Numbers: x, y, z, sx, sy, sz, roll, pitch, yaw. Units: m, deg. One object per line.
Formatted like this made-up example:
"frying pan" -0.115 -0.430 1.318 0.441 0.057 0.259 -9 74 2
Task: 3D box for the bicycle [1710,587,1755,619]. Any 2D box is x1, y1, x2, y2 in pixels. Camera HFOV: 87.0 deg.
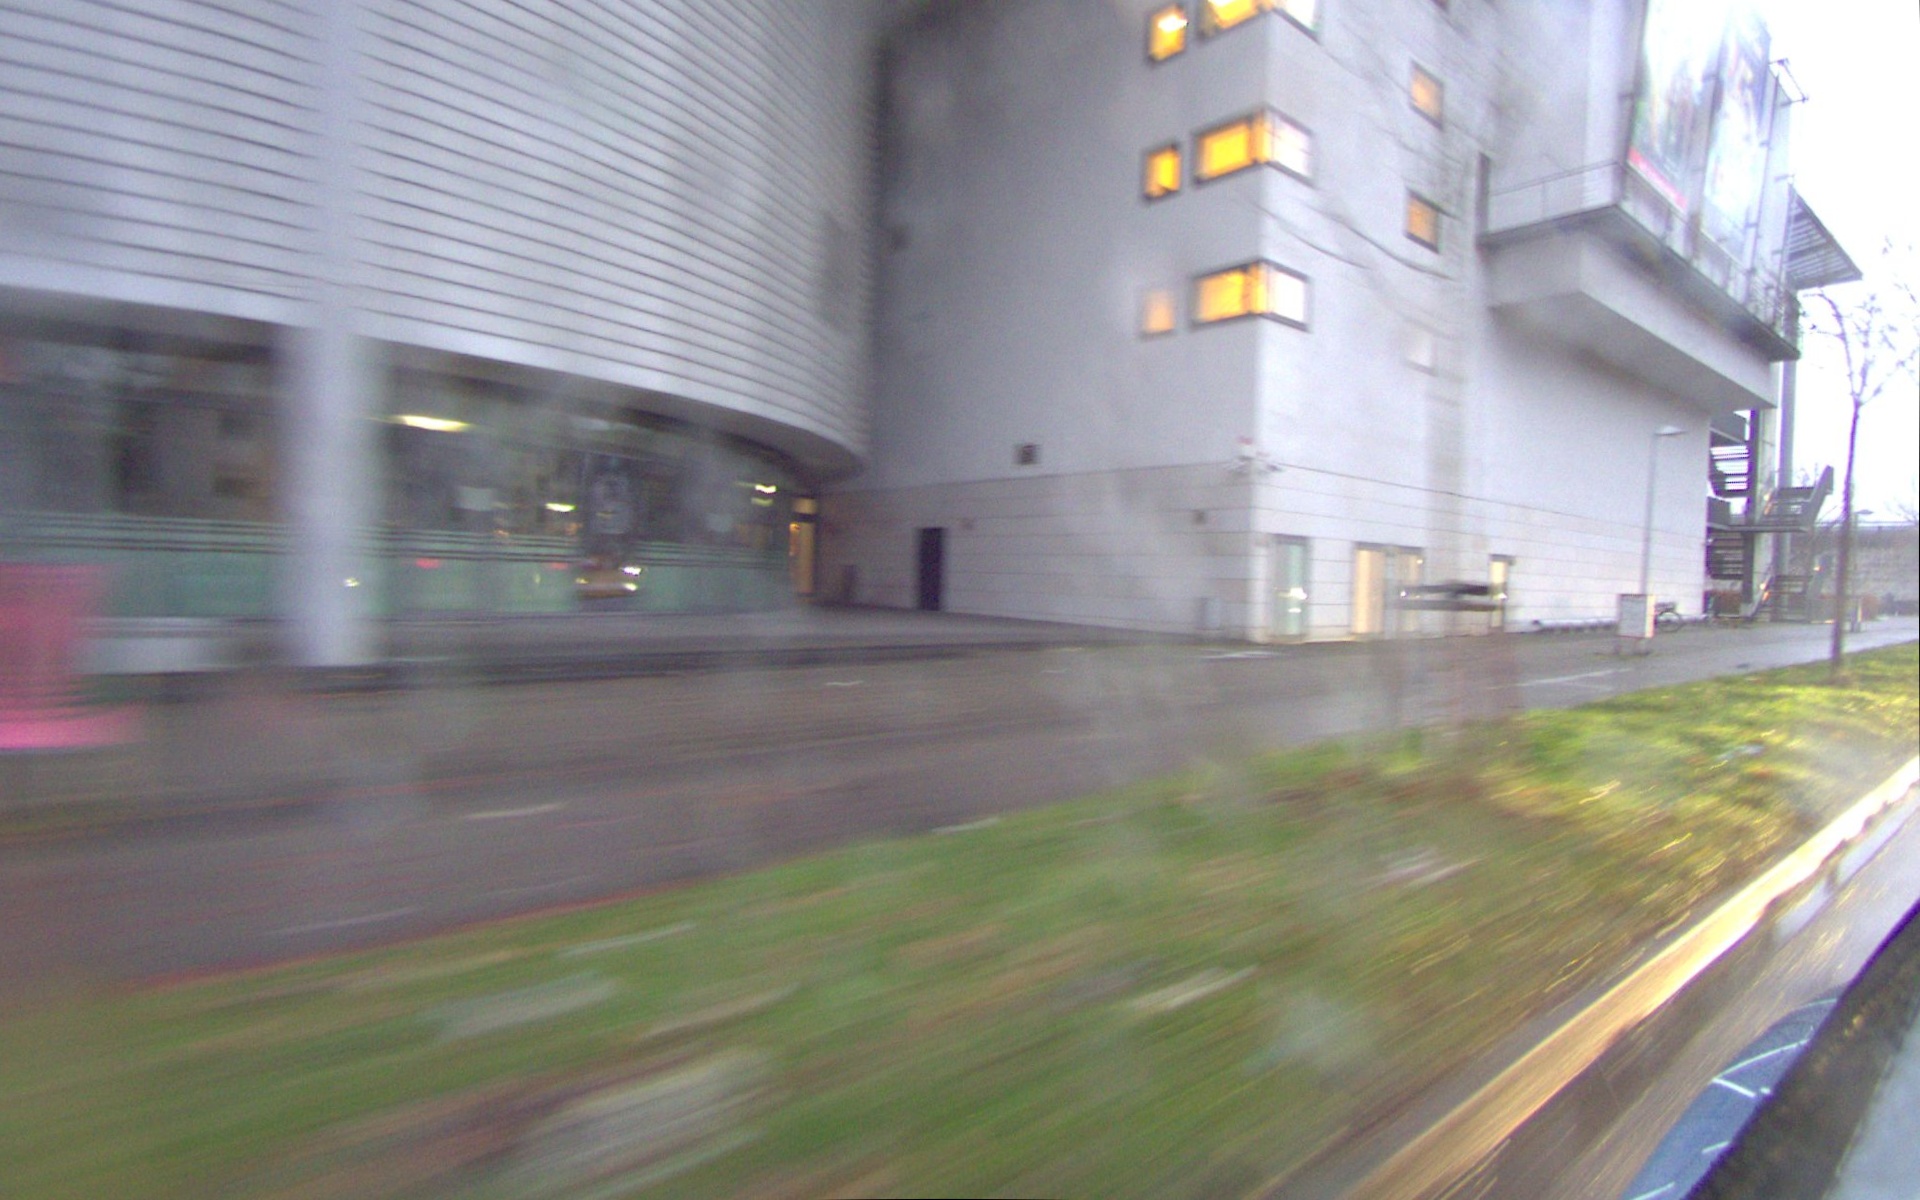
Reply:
"bicycle" 31.235 0.126 40.922 1.708 1.301 0.412 0 0 -13

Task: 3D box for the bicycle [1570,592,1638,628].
"bicycle" 20.965 0.324 32.970 0.390 1.065 1.812 0 2 -41

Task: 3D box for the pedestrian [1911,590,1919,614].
"pedestrian" 70.826 0.138 74.741 0.602 1.800 0.676 0 -1 -26

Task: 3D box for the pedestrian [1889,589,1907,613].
"pedestrian" 64.738 0.085 69.846 0.601 1.646 0.676 0 -1 -25
